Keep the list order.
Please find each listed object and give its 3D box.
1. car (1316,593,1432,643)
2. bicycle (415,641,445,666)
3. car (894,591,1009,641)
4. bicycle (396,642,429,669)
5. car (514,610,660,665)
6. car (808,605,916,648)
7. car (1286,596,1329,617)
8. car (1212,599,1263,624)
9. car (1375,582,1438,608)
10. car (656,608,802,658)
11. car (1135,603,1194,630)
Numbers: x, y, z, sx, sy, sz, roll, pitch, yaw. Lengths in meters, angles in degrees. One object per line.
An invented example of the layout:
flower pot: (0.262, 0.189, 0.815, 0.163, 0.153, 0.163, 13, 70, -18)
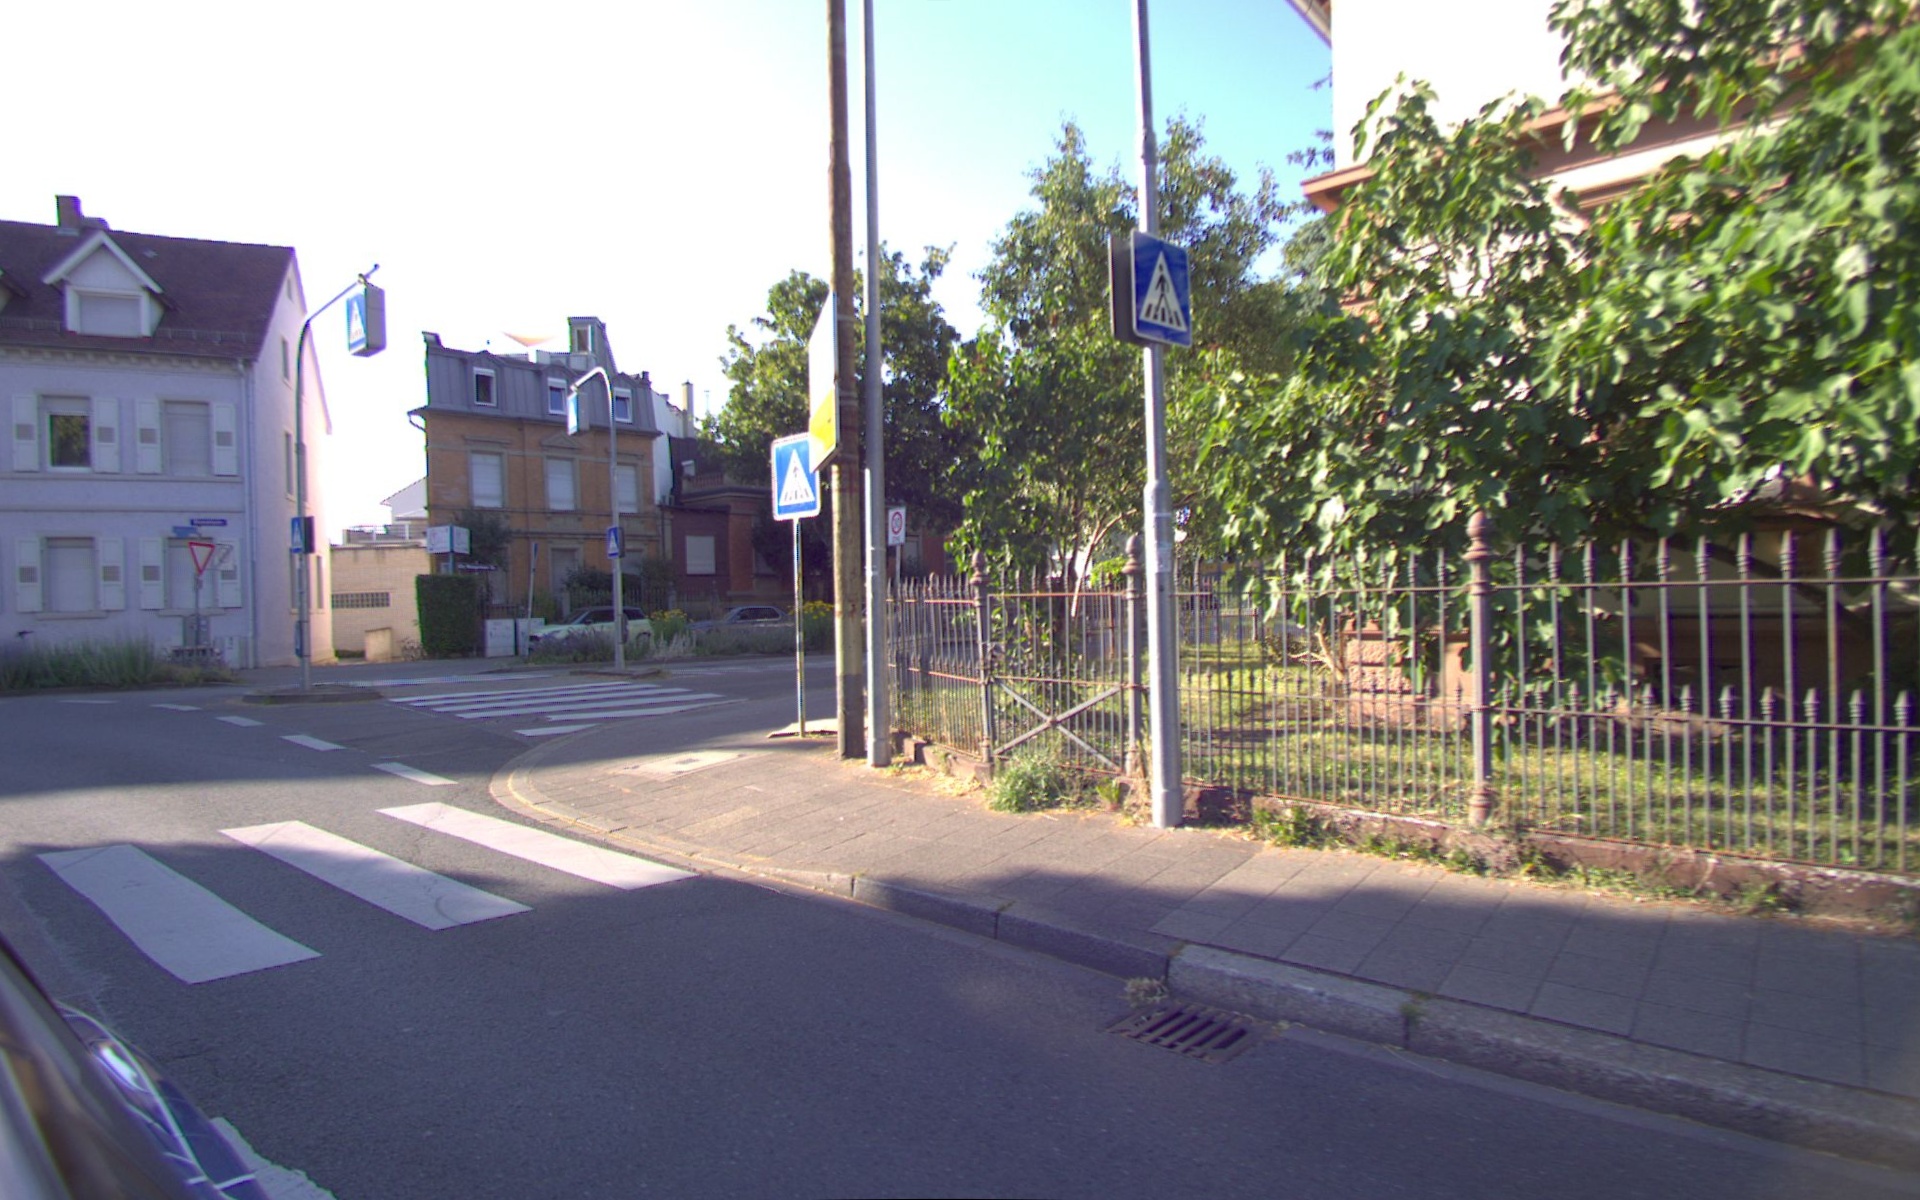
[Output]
car: (12.792, 0.527, 31.189, 3.940, 1.379, 1.842, -2, 0, -43)
bicycle: (-25.942, 2.604, 49.536, 0.693, 1.090, 2.346, -2, 0, -13)
car: (-0.295, 0.657, 43.392, 1.930, 1.959, 5.026, -2, 0, 44)
bicycle: (-25.239, 2.542, 46.668, 0.693, 1.090, 2.346, -2, 0, -13)
car: (-11.412, 1.112, 31.092, 1.702, 1.465, 3.827, -2, 0, 44)
car: (-3.746, 0.992, 38.979, 1.702, 1.465, 3.958, -2, 0, 44)
car: (25.463, 0.475, 74.051, 1.598, 1.402, 3.528, -2, 0, 44)
car: (17.422, 0.701, 63.519, 1.598, 1.402, 3.528, -2, 0, 44)
car: (33.253, -0.371, 75.484, 1.809, 1.794, 4.013, -2, 0, -26)
car: (-7.789, 1.076, 34.464, 1.726, 1.465, 4.628, -2, 0, 44)
car: (11.518, 0.908, 56.873, 1.598, 1.402, 3.528, -2, 0, 44)
